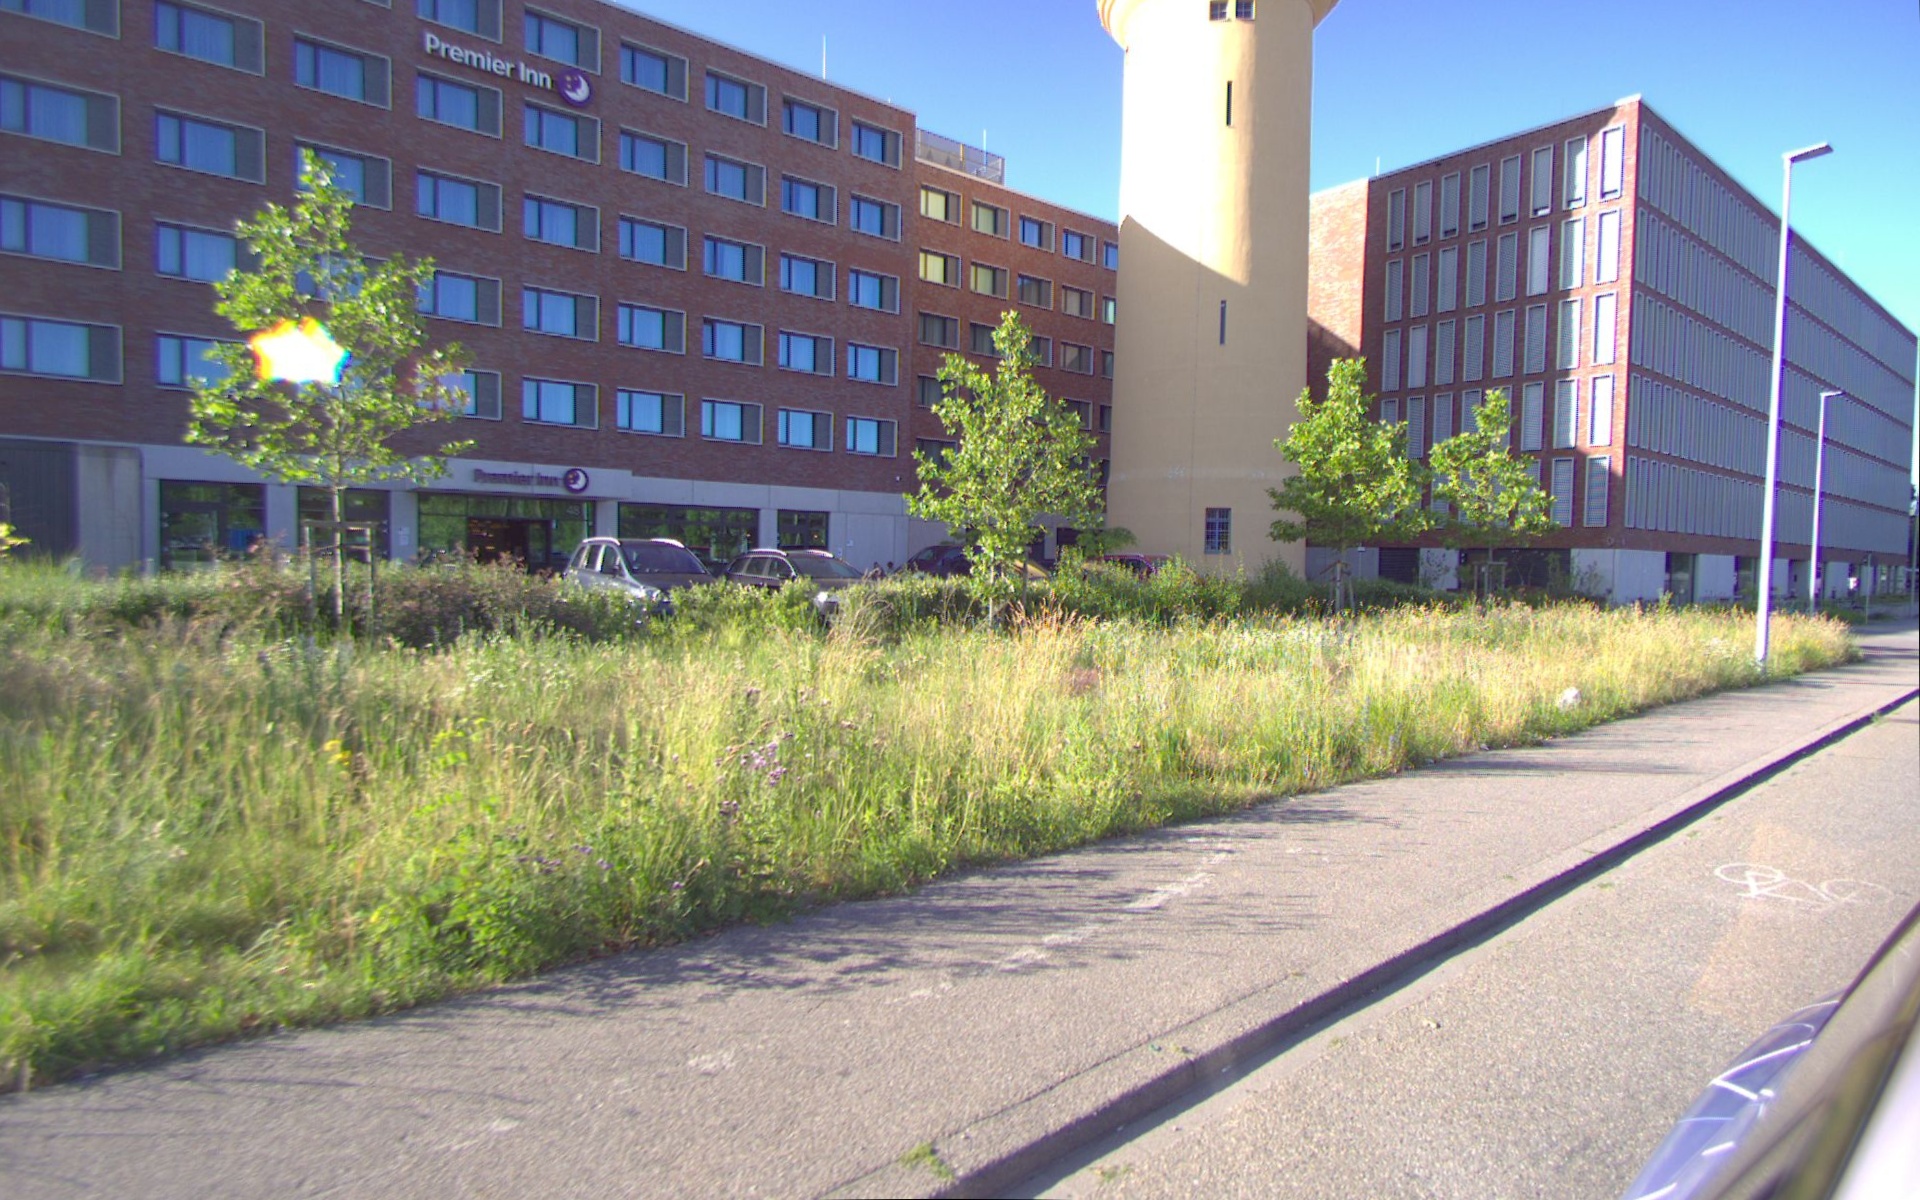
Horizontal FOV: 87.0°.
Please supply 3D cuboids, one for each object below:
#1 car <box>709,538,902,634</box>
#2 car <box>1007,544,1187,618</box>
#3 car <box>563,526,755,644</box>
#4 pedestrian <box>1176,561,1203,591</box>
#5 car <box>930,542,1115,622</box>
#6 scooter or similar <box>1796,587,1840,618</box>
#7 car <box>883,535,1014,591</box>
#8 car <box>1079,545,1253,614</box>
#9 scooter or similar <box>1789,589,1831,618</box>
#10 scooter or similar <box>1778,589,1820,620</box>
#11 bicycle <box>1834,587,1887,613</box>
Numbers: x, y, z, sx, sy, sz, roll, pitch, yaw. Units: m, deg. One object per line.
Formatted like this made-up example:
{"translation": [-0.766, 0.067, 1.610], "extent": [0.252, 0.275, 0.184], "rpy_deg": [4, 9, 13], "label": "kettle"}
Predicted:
{"translation": [-3.017, -0.298, 19.074], "extent": [1.817, 1.600, 4.197], "rpy_deg": [0, 2, -37], "label": "car"}
{"translation": [3.157, -0.479, 24.083], "extent": [1.817, 1.600, 4.197], "rpy_deg": [0, 2, -37], "label": "car"}
{"translation": [-5.158, -0.276, 16.989], "extent": [1.817, 1.727, 3.999], "rpy_deg": [0, 2, -37], "label": "car"}
{"translation": [9.128, -0.956, 40.313], "extent": [0.800, 1.149, 0.758], "rpy_deg": [1, 3, -6], "label": "pedestrian"}
{"translation": [1.284, -0.417, 22.544], "extent": [1.817, 1.600, 4.197], "rpy_deg": [0, 2, -37], "label": "car"}
{"translation": [36.637, 0.091, 43.238], "extent": [0.416, 1.260, 1.345], "rpy_deg": [0, 2, -36], "label": "scooter or similar"}
{"translation": [-0.378, -1.328, 37.554], "extent": [4.708, 1.959, 1.976], "rpy_deg": [0, 2, -40], "label": "car"}
{"translation": [5.152, -0.547, 25.755], "extent": [1.817, 1.600, 4.197], "rpy_deg": [0, 2, -37], "label": "car"}
{"translation": [35.543, 0.130, 42.321], "extent": [0.359, 1.170, 1.247], "rpy_deg": [0, 2, -36], "label": "scooter or similar"}
{"translation": [34.281, 0.167, 41.358], "extent": [0.334, 1.209, 1.247], "rpy_deg": [0, 2, -36], "label": "scooter or similar"}
{"translation": [45.351, 0.010, 50.960], "extent": [1.932, 1.184, 0.369], "rpy_deg": [5, 4, 44], "label": "bicycle"}
